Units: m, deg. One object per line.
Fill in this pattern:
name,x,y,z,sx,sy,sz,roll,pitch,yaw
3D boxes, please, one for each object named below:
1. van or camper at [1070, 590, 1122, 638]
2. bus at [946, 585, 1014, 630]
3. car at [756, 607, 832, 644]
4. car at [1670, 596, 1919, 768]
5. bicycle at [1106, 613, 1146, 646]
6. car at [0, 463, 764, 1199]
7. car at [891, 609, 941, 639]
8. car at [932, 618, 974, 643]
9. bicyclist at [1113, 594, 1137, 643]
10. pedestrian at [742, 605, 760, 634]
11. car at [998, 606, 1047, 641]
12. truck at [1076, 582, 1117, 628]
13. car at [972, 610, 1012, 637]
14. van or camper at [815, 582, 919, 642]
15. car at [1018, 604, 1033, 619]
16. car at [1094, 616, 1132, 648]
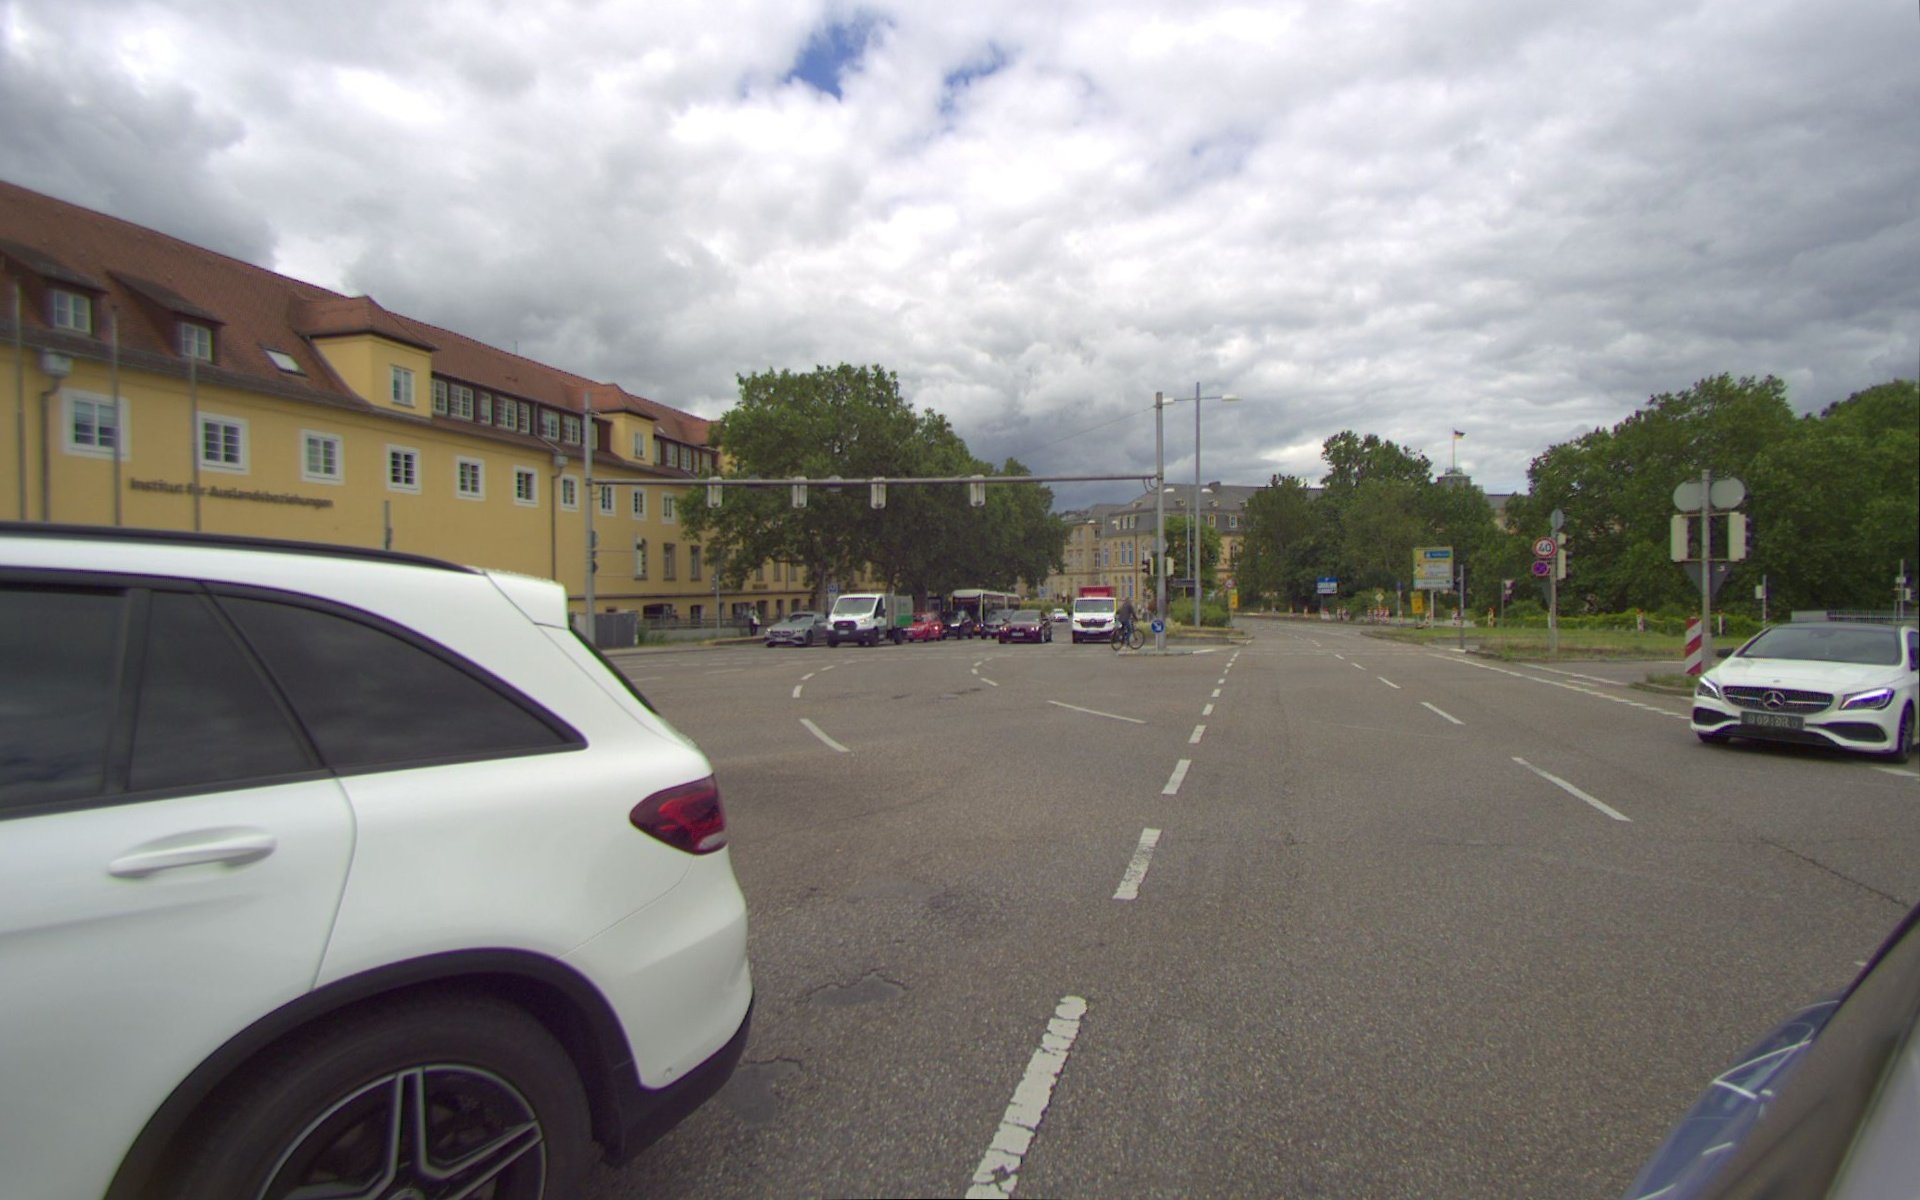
van or camper,5.862,0.562,43.156,1.838,1.941,4.695,0,0,12
bus,1.794,0.548,80.437,3.380,3.244,13.022,0,0,10
car,-6.836,1.029,42.018,1.801,1.426,3.985,0,0,12
car,10.006,0.762,11.448,4.564,1.589,1.871,0,0,-36
bicycle,5.709,1.013,34.719,0.503,1.086,1.702,-1,0,43
car,-2.625,0.630,1.571,4.260,1.667,1.804,0,0,-42
car,-2.062,1.117,48.463,1.590,1.372,3.473,0,0,12
car,-0.368,1.655,55.978,1.599,1.251,3.225,0,0,13
bicyclist,5.646,0.619,34.607,0.503,1.661,0.710,0,-1,43
pedestrian,-10.124,0.957,49.007,0.671,1.397,0.577,0,-1,11
car,2.735,0.998,43.713,1.713,1.418,3.699,0,0,11
truck,11.101,0.418,81.789,2.749,3.534,8.319,0,0,12
car,1.793,1.265,56.026,1.581,1.395,3.986,0,0,11
van or camper,-3.761,0.467,42.418,2.341,2.291,6.257,0,0,15
car,8.867,1.546,137.890,1.964,2.039,3.996,0,0,3
car,9.104,1.884,59.970,1.969,1.776,3.945,0,0,13
